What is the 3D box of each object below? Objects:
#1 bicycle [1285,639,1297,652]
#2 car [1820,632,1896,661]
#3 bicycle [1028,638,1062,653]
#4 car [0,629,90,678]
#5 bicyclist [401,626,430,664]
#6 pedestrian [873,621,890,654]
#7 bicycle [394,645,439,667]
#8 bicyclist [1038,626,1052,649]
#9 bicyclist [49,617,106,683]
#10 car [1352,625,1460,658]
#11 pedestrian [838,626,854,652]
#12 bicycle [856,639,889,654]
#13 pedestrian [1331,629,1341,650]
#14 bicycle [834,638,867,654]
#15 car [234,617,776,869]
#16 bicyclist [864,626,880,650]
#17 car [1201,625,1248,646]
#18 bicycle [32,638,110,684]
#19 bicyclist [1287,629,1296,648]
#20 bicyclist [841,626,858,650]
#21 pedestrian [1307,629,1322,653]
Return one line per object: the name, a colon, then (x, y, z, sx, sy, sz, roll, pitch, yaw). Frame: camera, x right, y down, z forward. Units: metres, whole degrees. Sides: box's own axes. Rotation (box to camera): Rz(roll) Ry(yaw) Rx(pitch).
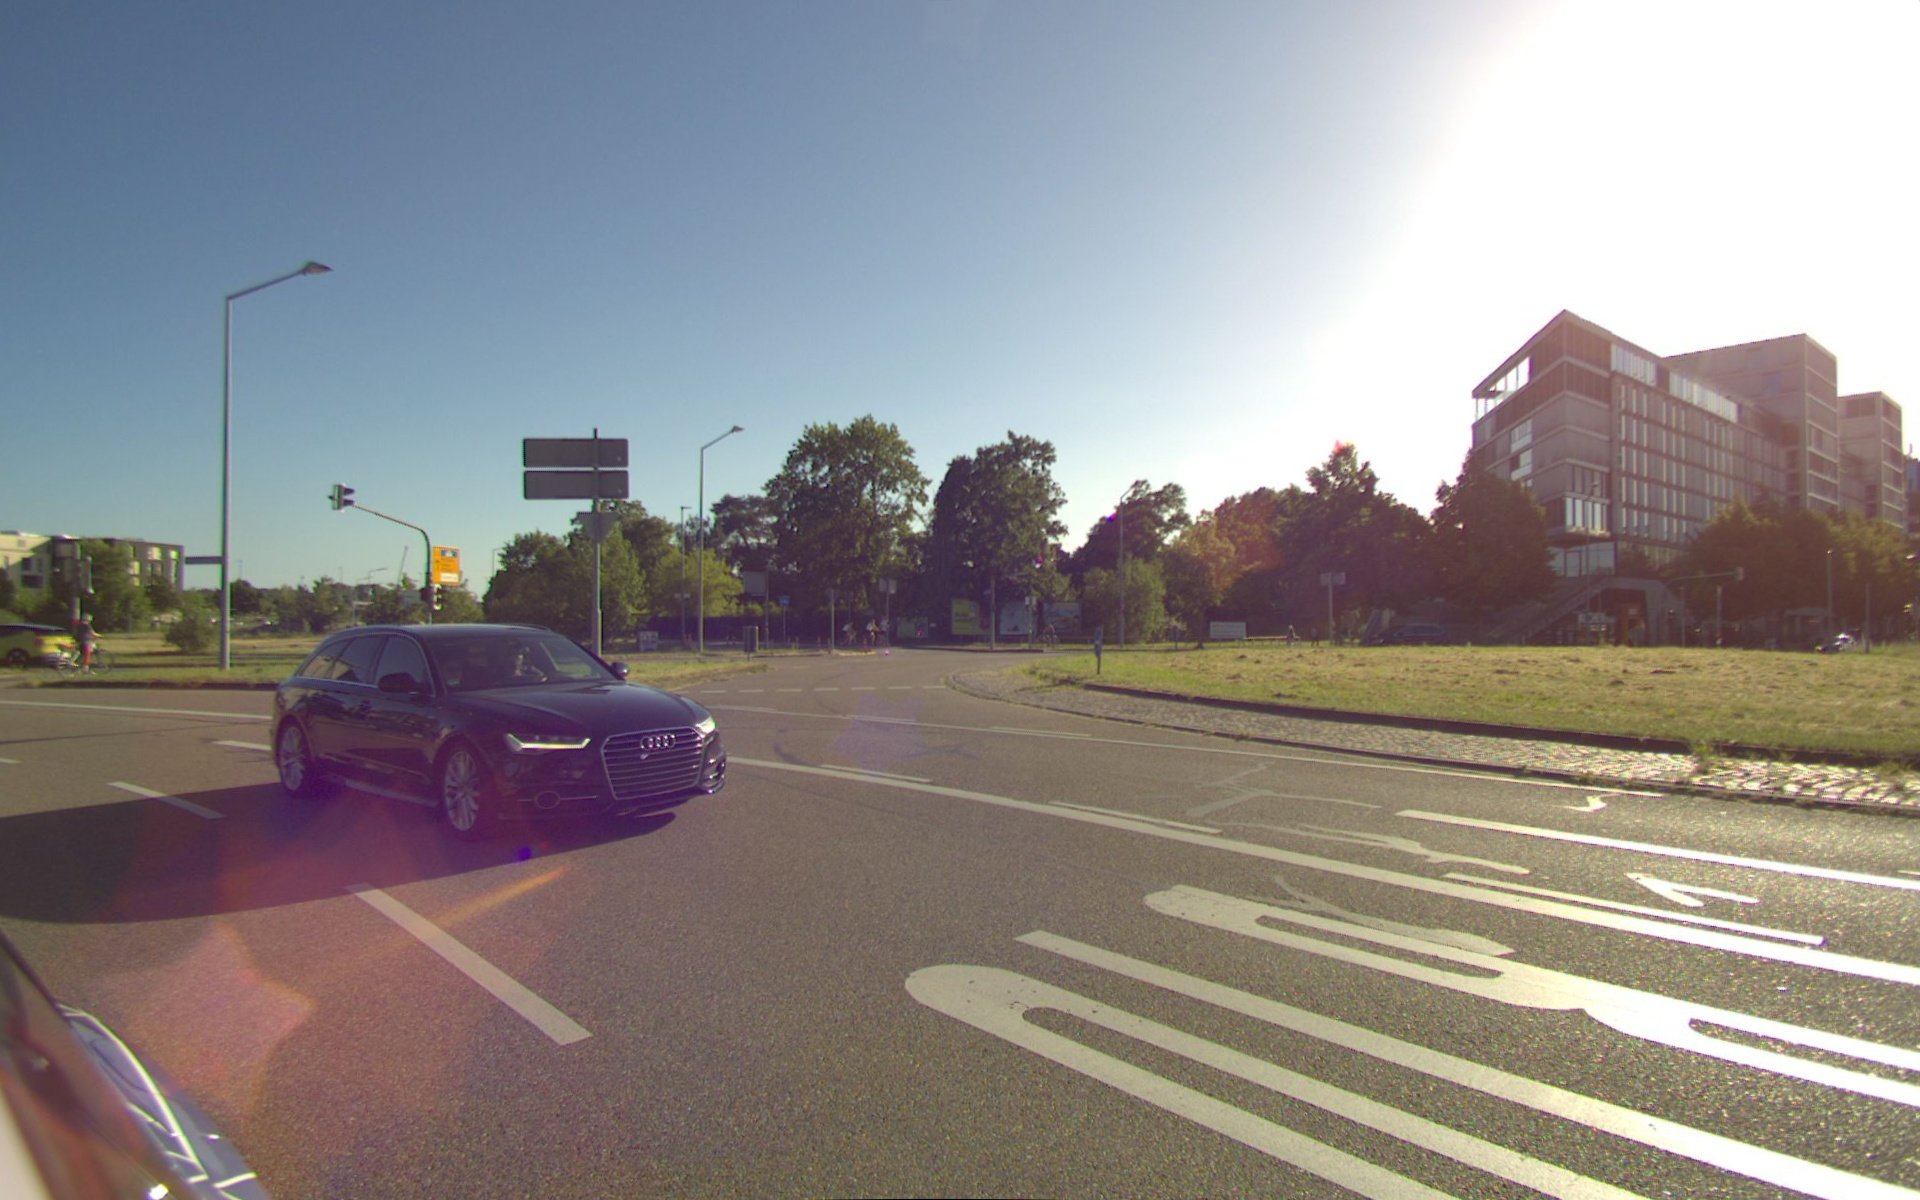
bicycle: (25.856, 3.551, 79.058, 0.584, 1.019, 1.854, 0, -2, 26)
car: (57.260, 2.962, 64.551, 3.851, 1.798, 1.780, 0, -1, -16)
bicycle: (5.739, 3.094, 68.577, 2.227, 0.995, 0.663, 0, -2, -7)
car: (-32.084, 1.771, 33.785, 4.259, 1.553, 2.011, 0, -2, -5)
bicyclist: (-22.495, 1.850, 41.847, 0.610, 1.528, 0.922, -1, -2, 9)
pedestrian: (-4.917, 2.316, 63.043, 0.928, 2.021, 0.590, 0, -2, -20)
bicycle: (-22.489, 2.319, 41.887, 0.610, 0.859, 1.883, -1, -2, 9)
bicyclist: (5.768, 2.532, 68.582, 0.822, 1.592, 0.663, 0, -2, -8)
bicyclist: (-23.245, 1.307, 26.669, 0.693, 1.676, 0.944, 1, -1, -6)
car: (24.799, 2.284, 56.399, 4.934, 1.798, 2.466, 0, -1, -8)
pedestrian: (-8.905, 3.028, 78.905, 0.888, 2.029, 0.819, 3, -2, -44)
bicycle: (-5.119, 2.726, 59.314, 1.858, 0.859, 0.618, 1, -2, -37)
pedestrian: (30.383, 3.203, 81.748, 0.674, 1.696, 0.882, -1, -2, 22)
bicycle: (-6.425, 2.700, 59.355, 1.858, 0.859, 0.618, 1, -2, -37)
car: (-3.869, 0.905, 8.136, 5.007, 1.454, 1.776, -2, -1, 37)
bicyclist: (-5.185, 2.241, 59.384, 0.707, 1.403, 0.618, 1, -2, -36)
car: (23.078, 3.070, 88.268, 3.698, 1.819, 1.835, 0, -2, 7)
bicycle: (-23.217, 1.576, 26.466, 0.693, 1.137, 1.658, 1, -1, -6)
bicyclist: (25.881, 3.009, 79.083, 0.584, 1.479, 0.749, 0, -2, 26)
bicyclist: (-6.489, 2.213, 59.326, 0.824, 1.403, 0.618, 1, -2, -36)
pedestrian: (24.724, 2.849, 70.579, 0.751, 1.642, 0.884, 0, -2, 4)
